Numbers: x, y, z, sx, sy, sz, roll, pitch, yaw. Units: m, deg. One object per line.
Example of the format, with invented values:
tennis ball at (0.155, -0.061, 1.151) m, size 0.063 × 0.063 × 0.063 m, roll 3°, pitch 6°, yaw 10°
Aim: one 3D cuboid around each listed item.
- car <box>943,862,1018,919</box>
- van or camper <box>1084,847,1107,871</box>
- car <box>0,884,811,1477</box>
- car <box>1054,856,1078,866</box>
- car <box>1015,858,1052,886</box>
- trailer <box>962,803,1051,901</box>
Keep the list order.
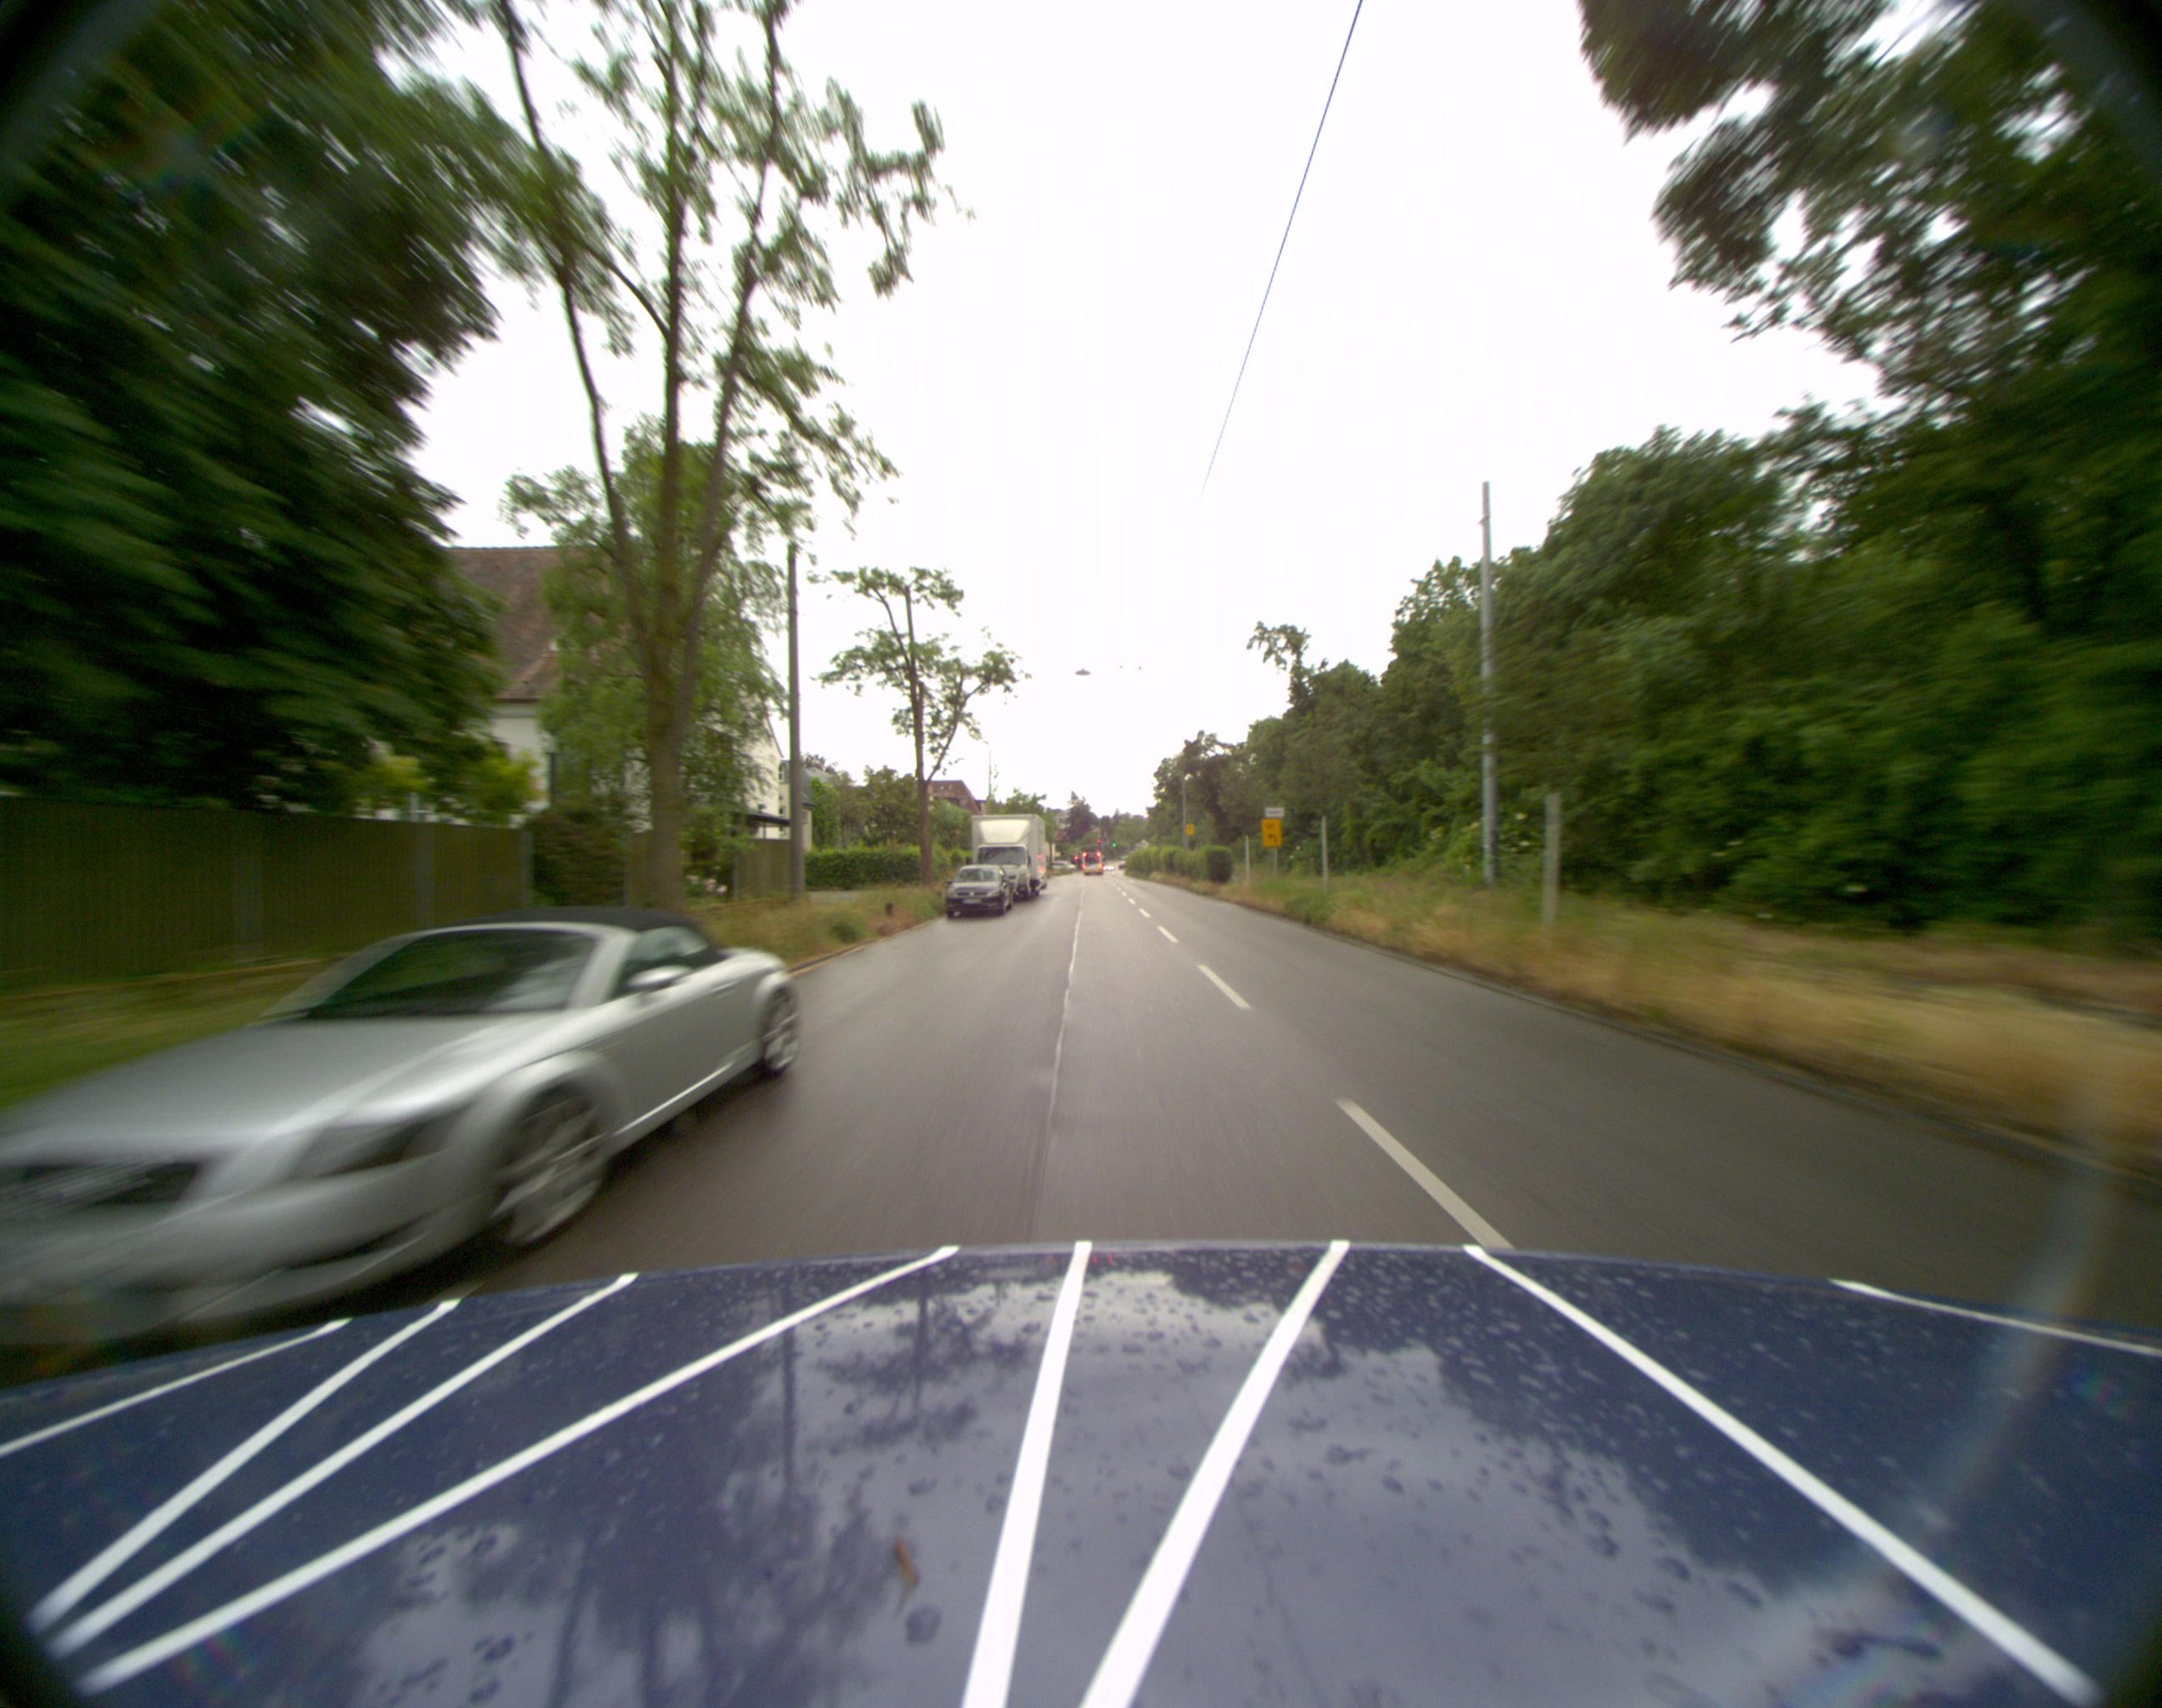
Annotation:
car at (-2.945, 1.029, 22.999) m, size 1.645 × 1.455 × 4.000 m, roll -2°, pitch 0°, yaw 1°
van or camper at (2.063, 0.665, 107.119) m, size 2.862 × 3.160 × 6.851 m, roll -2°, pitch 0°, yaw 3°
car at (-3.046, 0.961, 3.994) m, size 1.786 × 1.387 × 4.000 m, roll -2°, pitch 0°, yaw 0°
car at (-3.270, 1.550, 169.013) m, size 5.049 × 1.967 × 2.001 m, roll -2°, pitch 0°, yaw 5°
car at (-2.641, 0.986, 43.139) m, size 1.800 × 1.465 × 4.548 m, roll -2°, pitch 0°, yaw 0°
trailer at (-2.887, -0.075, 32.045) m, size 2.741 × 3.487 × 8.247 m, roll -2°, pitch 0°, yaw 0°
